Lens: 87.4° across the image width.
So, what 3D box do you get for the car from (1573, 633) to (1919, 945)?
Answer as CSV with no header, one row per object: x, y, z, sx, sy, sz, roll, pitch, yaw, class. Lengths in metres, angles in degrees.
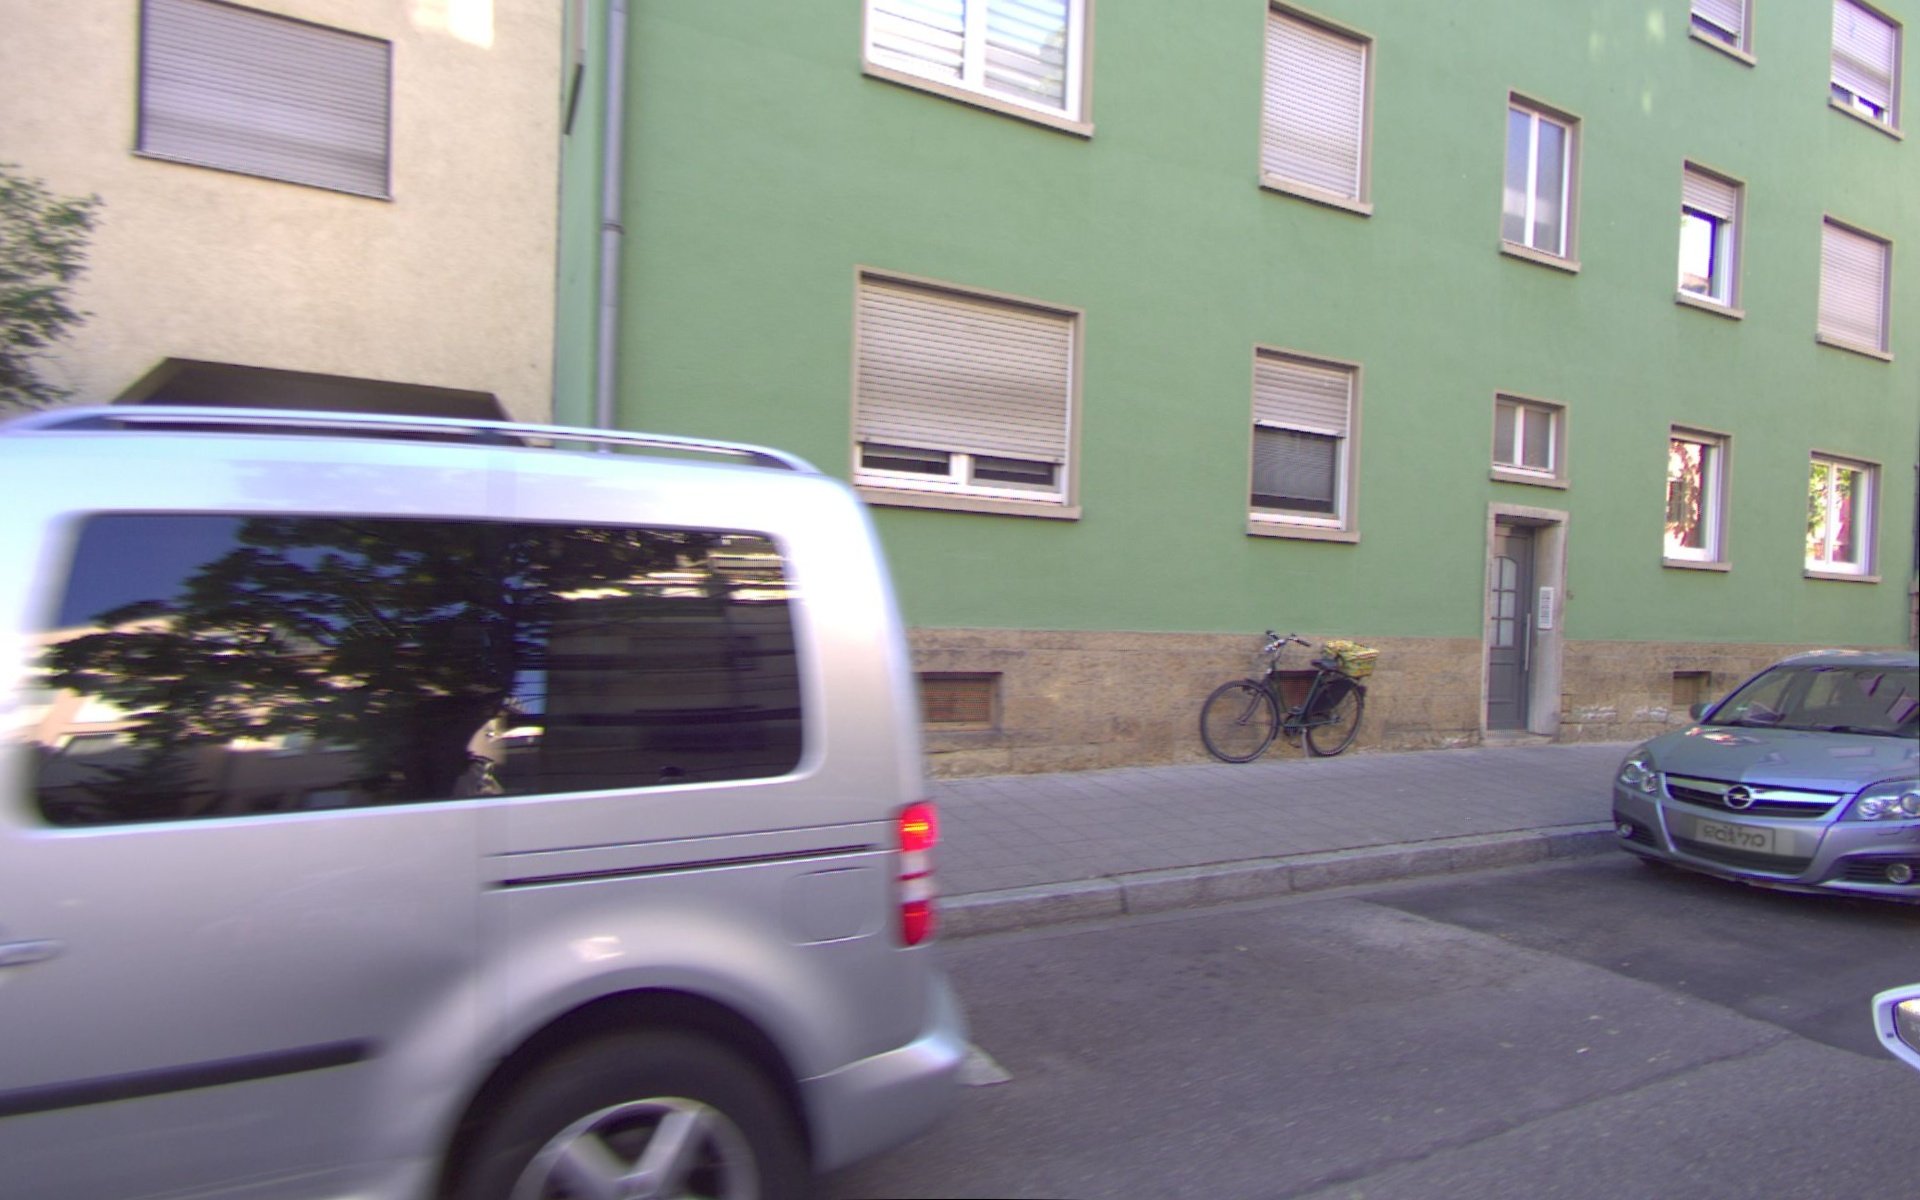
6.159,0.997,6.582,4.452,1.481,1.712,2,-2,-29,car

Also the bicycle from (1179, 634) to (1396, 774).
2.882,0.889,8.774,1.944,1.090,0.485,2,4,-27,bicycle

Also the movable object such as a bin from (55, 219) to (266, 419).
-7.790,-2.676,9.901,1.325,1.451,1.338,2,0,-26,movable object such as a bin

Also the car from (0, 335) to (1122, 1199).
-1.993,0.536,2.299,4.348,1.867,1.769,2,-2,-19,car

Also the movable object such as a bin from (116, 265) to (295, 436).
-8.364,-2.717,11.246,1.325,1.451,1.338,2,0,-26,movable object such as a bin

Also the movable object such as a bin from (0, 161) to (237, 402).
-7.151,-2.613,8.563,1.325,1.451,1.467,2,0,-26,movable object such as a bin
